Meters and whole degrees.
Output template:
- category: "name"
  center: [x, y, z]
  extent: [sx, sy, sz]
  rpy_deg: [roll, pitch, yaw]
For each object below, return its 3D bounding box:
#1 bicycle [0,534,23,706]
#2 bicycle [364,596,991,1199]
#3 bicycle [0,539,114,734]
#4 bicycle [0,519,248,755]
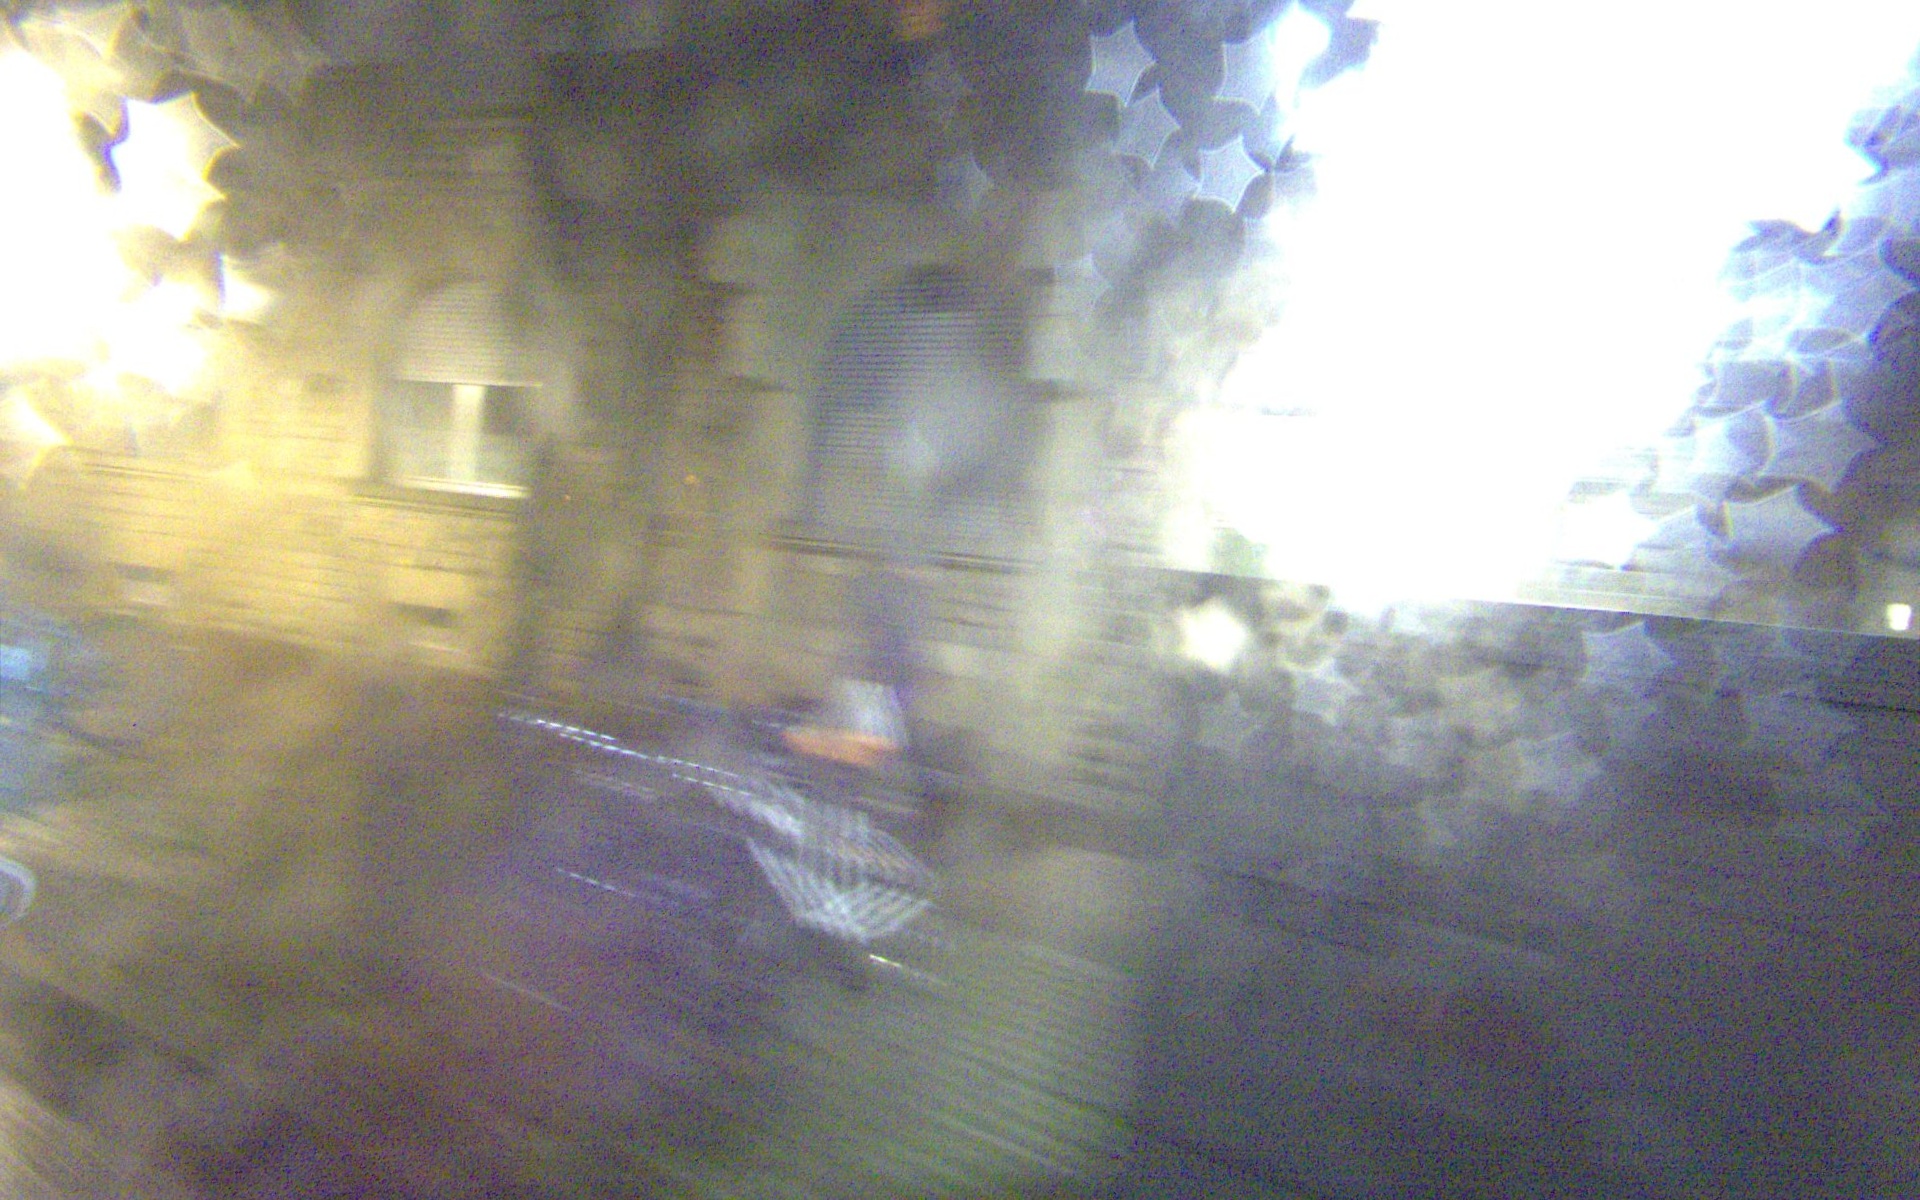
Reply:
- category: "bicycle"
  center: [-6.362, 0.072, 5.283]
  extent: [0.675, 1.020, 1.973]
  rpy_deg: [7, 2, 21]
- category: "bicycle"
  center: [-0.616, 0.664, 2.988]
  extent: [0.717, 1.233, 1.873]
  rpy_deg: [7, 2, 21]
- category: "bicycle"
  center: [-5.569, 0.167, 5.008]
  extent: [0.717, 1.000, 1.931]
  rpy_deg: [7, 2, 21]
- category: "bicycle"
  center: [-4.935, 0.165, 5.185]
  extent: [0.717, 1.129, 1.931]
  rpy_deg: [7, 2, 21]
